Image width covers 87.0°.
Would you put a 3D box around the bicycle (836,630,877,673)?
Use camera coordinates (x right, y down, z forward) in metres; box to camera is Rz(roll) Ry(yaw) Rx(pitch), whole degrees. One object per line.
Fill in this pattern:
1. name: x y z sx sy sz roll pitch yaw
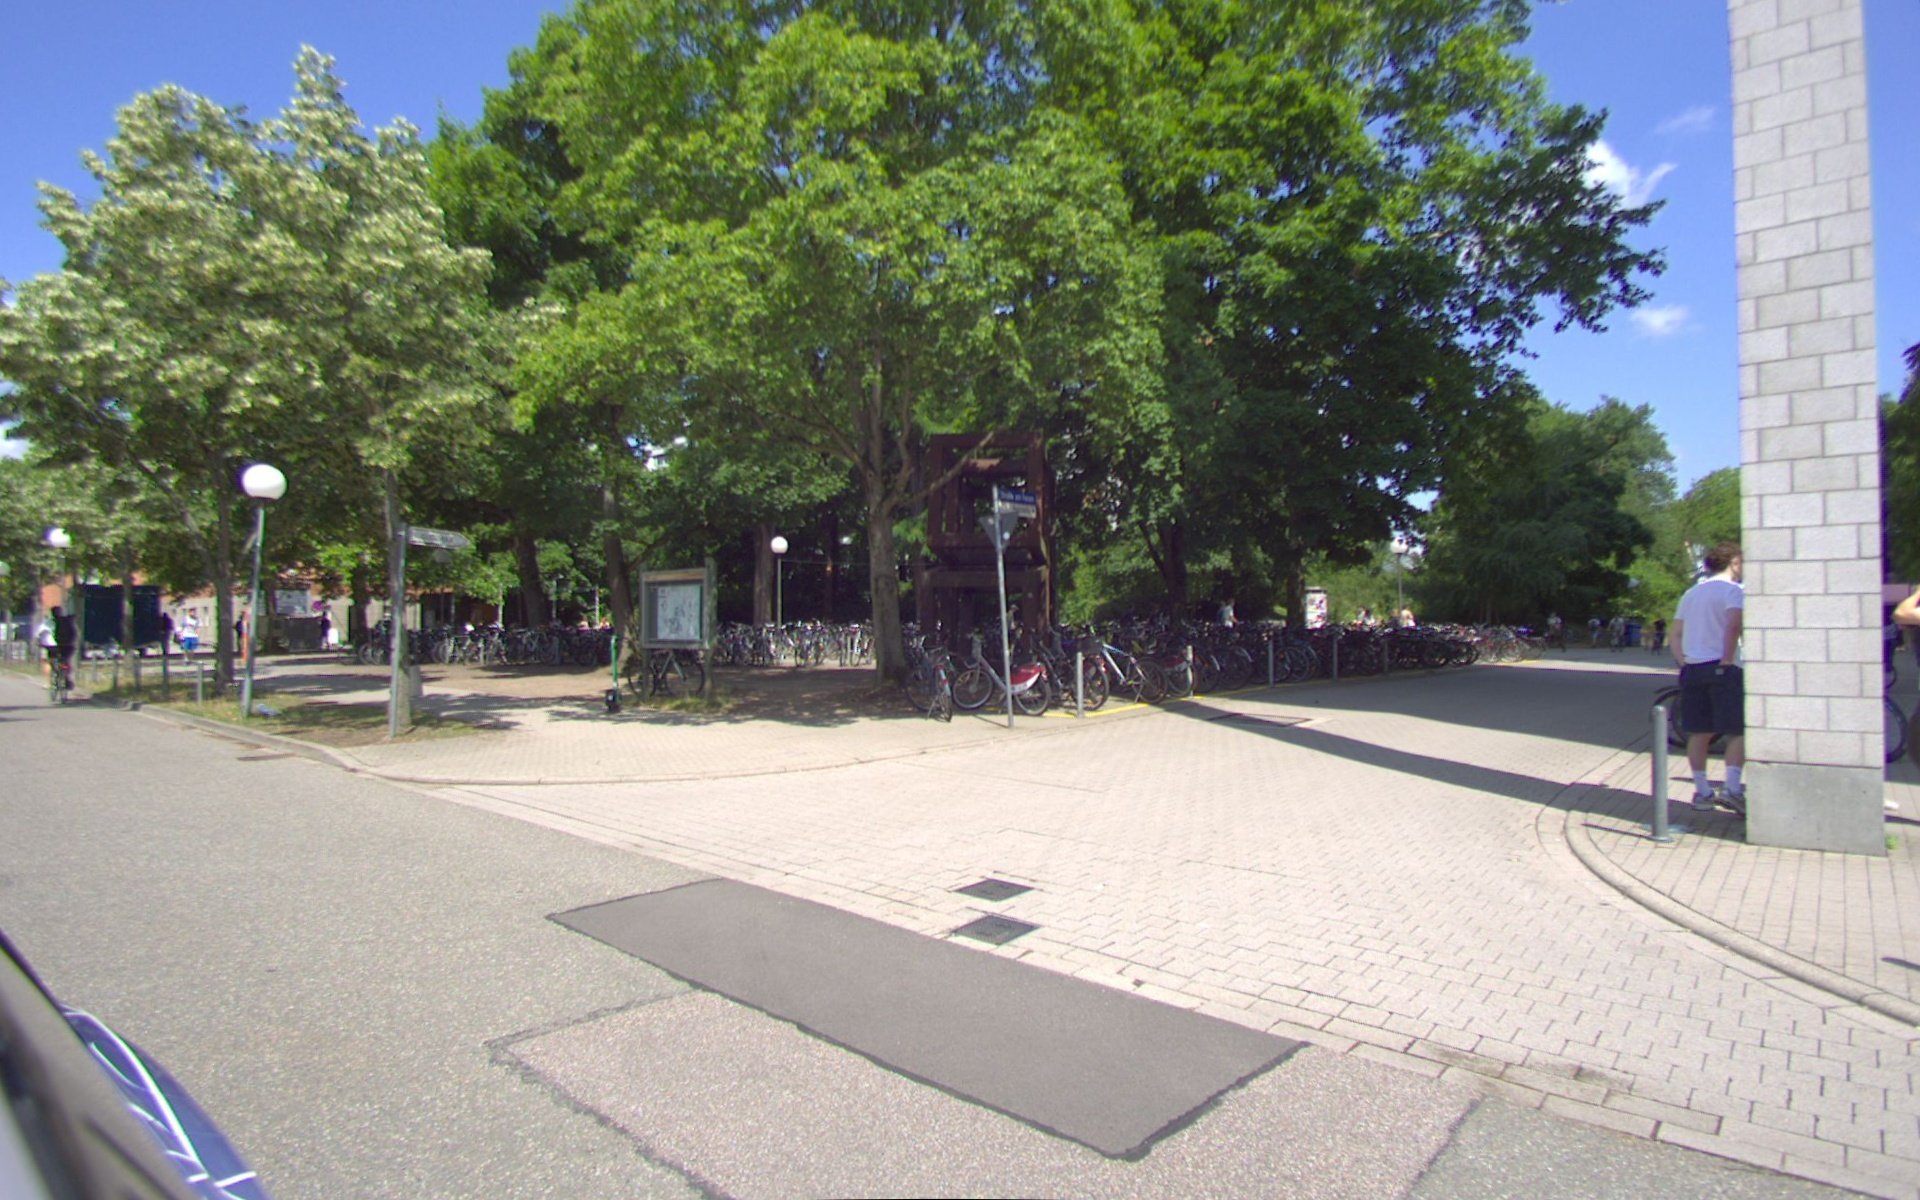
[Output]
1. bicycle: -2.776 1.376 27.492 0.870 1.085 2.684 -1 -1 -1

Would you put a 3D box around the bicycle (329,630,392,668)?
1. bicycle: -18.718 1.509 31.638 0.456 1.140 1.764 -2 -1 24

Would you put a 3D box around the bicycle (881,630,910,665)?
1. bicycle: -2.187 1.611 34.575 0.632 1.141 2.056 -2 -2 6

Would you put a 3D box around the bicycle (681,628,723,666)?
1. bicycle: -8.292 1.496 32.587 0.632 1.167 2.056 -2 -1 6

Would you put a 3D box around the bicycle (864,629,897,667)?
1. bicycle: -2.452 1.479 31.588 0.632 1.141 2.056 -2 -2 6

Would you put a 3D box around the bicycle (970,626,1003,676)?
1. bicycle: 0.687 1.340 27.212 0.732 1.134 2.961 -1 1 -1

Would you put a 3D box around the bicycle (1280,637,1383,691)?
1. bicycle: 7.860 1.335 21.484 1.972 1.095 0.546 -2 -1 42

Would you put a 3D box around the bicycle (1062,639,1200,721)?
1. bicycle: 2.443 1.122 14.661 1.972 1.095 0.546 -2 -1 42

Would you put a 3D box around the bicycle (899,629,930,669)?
1. bicycle: -1.408 1.509 31.526 0.632 1.141 2.056 -2 0 6

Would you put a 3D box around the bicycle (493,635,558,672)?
1. bicycle: -12.726 1.560 29.735 0.671 1.016 2.146 -1 -1 11

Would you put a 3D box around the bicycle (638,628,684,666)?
1. bicycle: -9.555 1.474 32.396 0.632 1.141 2.056 -2 -1 6

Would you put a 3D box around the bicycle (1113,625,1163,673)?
1. bicycle: 4.660 1.266 26.746 0.732 1.165 2.912 -1 -1 -1

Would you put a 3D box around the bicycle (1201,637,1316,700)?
1. bicycle: 5.492 1.244 18.704 1.972 1.095 0.546 -2 -1 42

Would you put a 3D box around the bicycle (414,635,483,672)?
1. bicycle: -15.170 1.571 30.100 0.671 1.016 2.146 -1 -1 11

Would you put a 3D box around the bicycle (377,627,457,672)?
1. bicycle: -16.364 1.472 30.545 0.804 1.244 2.044 -2 0 24

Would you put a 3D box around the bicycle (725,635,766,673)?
1. bicycle: -6.881 1.721 32.554 0.632 1.141 2.056 -2 -1 6

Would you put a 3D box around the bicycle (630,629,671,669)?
1. bicycle: -10.081 1.585 33.030 0.473 1.141 2.057 -2 1 6

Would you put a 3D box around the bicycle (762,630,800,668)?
1. bicycle: -5.674 1.547 32.241 0.632 1.141 2.056 -2 -2 6

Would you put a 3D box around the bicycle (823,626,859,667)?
1. bicycle: -3.756 1.461 32.080 0.632 1.141 2.057 -2 1 6

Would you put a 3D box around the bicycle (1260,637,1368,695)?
1. bicycle: 7.091 1.302 20.367 1.972 1.095 0.546 -2 -1 42

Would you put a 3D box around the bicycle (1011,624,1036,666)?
1. bicycle: 1.993 1.384 31.632 0.632 1.141 2.057 -2 1 6

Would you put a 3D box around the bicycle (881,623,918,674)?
1. bicycle: -1.611 1.275 27.374 0.870 1.296 2.933 -1 -1 -1

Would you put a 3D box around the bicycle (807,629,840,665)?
1. bicycle: -4.668 1.600 34.793 0.632 1.141 2.056 -2 -1 6

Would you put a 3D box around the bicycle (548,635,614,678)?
1. bicycle: -10.685 1.567 28.664 0.870 1.094 2.752 -1 -1 -1

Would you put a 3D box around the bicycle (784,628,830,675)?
1. bicycle: -4.076 1.354 27.193 0.870 1.188 2.709 -1 -1 -1

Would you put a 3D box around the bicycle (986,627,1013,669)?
1. bicycle: 1.249 1.489 31.751 0.666 1.141 2.057 -2 1 6

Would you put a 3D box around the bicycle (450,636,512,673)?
1. bicycle: -14.104 1.584 29.873 0.671 1.016 1.885 -1 -1 12

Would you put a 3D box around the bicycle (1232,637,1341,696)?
1. bicycle: 6.414 1.281 19.932 1.972 1.095 0.546 -2 -1 42

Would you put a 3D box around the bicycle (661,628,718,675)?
1. bicycle: -7.594 1.412 28.589 0.870 1.230 2.909 -1 -1 -1

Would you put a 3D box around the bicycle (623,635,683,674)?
1. bicycle: -8.620 1.509 28.553 0.870 1.022 2.784 -1 -1 -1

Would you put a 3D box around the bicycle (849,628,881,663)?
1. bicycle: -3.234 1.543 34.604 0.632 1.141 2.056 -2 -2 6

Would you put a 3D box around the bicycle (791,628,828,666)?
1. bicycle: -4.788 1.477 32.280 0.632 1.141 2.056 -2 -2 6

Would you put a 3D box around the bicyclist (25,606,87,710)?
1. bicyclist: -18.223 1.162 20.402 1.018 2.029 0.704 -2 -4 39

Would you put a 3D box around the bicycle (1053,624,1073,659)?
1. bicycle: 3.444 1.364 33.671 0.632 1.141 2.056 -1 -2 6

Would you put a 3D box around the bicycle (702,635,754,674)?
1. bicycle: -6.471 1.496 28.351 0.870 1.010 2.734 -1 -1 -1

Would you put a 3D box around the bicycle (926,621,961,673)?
1. bicycle: -0.440 1.227 27.188 0.870 1.306 3.083 -1 -1 -1

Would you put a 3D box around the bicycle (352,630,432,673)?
1. bicycle: -17.293 1.551 30.860 0.804 1.244 2.044 -2 -1 24

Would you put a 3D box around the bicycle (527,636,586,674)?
1. bicycle: -11.544 1.556 29.050 0.668 1.016 2.651 -1 -1 -1

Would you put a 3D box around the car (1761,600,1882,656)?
1. car: 45.047 1.483 53.077 4.620 2.797 1.975 -2 -2 37

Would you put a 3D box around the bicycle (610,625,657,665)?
1. bicycle: -10.675 1.456 33.153 0.632 1.244 2.056 -2 -1 6

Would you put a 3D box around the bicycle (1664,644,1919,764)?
1. bicycle: 7.825 0.956 9.530 0.459 1.022 1.866 -1 -3 -44

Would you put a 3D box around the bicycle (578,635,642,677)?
1. bicycle: -9.805 1.552 28.492 0.870 1.058 2.834 -1 -1 -1

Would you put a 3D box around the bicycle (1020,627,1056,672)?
1. bicycle: 2.143 1.345 28.091 0.732 1.076 2.764 -1 1 -1

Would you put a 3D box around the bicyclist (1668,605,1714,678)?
1. bicyclist: 20.833 1.165 28.854 0.837 2.029 0.877 1 -2 -44

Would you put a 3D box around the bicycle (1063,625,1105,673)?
1. bicycle: 3.328 1.308 27.441 0.732 1.242 2.837 0 -2 -1

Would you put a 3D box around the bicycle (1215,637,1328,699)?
1. bicycle: 5.873 1.259 19.175 1.972 1.095 0.546 -2 -1 42

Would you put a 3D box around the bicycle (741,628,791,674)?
1. bicycle: -5.379 1.384 28.272 0.870 1.187 2.884 -1 -1 -1

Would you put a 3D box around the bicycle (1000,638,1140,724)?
1. bicycle: 1.495 1.092 14.034 1.972 1.095 0.546 -2 -1 42

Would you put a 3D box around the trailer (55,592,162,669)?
1. trailer: -36.390 1.293 43.172 6.264 3.049 2.668 -2 -1 42

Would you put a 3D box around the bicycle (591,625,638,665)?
1. bicycle: -11.365 1.474 33.321 0.632 1.244 2.056 -2 -1 6

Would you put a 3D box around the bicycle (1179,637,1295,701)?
1. bicycle: 4.998 1.229 18.379 1.972 1.095 0.546 -2 -1 42
